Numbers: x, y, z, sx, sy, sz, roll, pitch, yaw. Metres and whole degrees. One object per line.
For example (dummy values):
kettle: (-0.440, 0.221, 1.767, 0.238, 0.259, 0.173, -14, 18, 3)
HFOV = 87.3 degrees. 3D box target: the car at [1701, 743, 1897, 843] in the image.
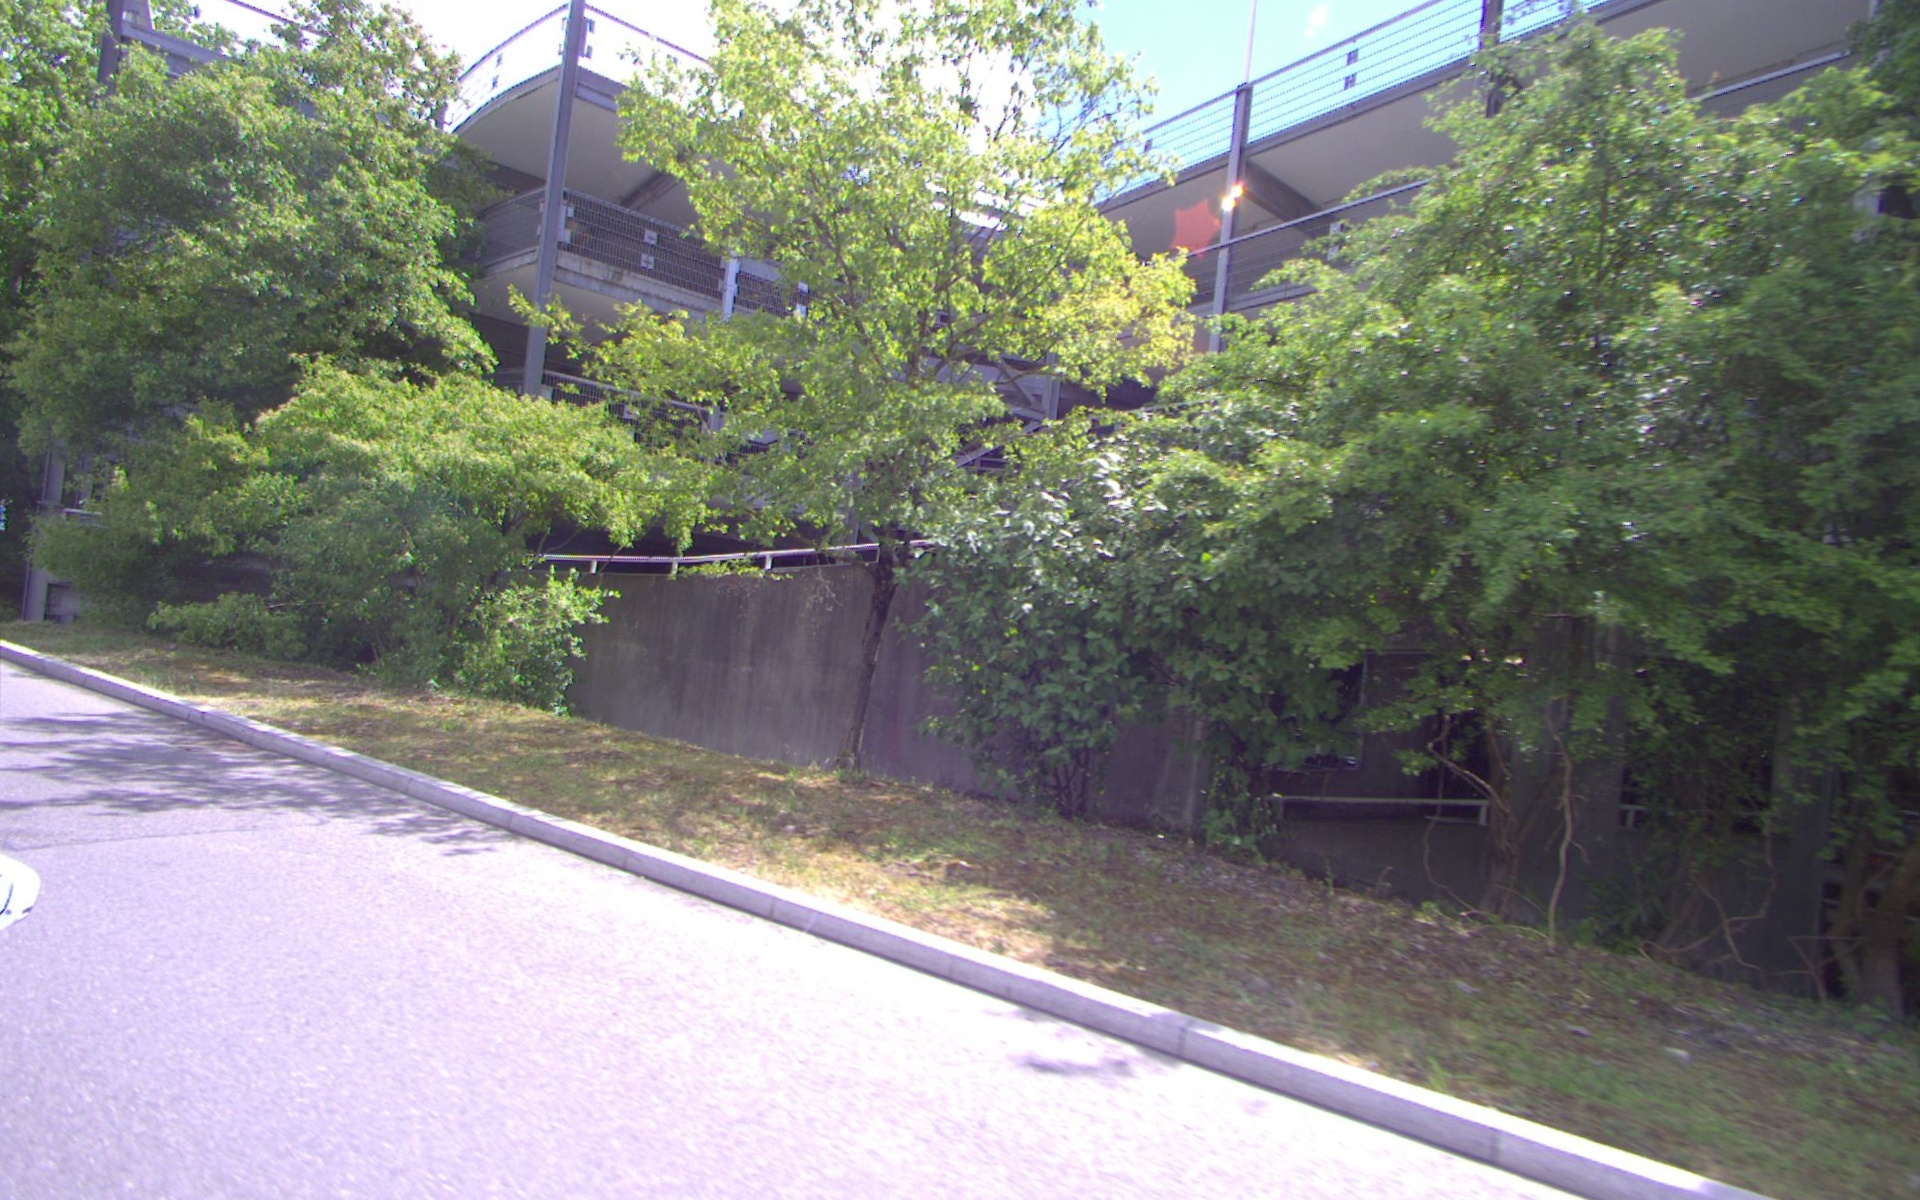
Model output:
car: (18.259, 4.212, 21.848, 4.287, 1.649, 1.983, 9, -2, -33)

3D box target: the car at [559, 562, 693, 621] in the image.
car: (-11.117, -0.278, 33.598, 3.824, 1.503, 1.678, 7, -1, -37)

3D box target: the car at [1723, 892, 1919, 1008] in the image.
car: (18.100, 7.202, 21.035, 4.287, 1.506, 1.983, 9, -2, -33)

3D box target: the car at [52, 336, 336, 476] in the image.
car: (-13.186, -3.273, 17.574, 3.673, 1.428, 1.643, 9, -1, -36)

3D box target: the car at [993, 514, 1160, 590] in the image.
car: (2.837, -1.125, 24.335, 3.677, 1.342, 1.817, 6, -1, -35)

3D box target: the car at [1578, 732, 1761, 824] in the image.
car: (16.779, 4.215, 23.744, 4.287, 1.649, 1.983, 9, -2, -33)

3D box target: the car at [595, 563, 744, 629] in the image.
car: (-8.612, -0.090, 29.957, 3.824, 1.503, 1.678, 7, -1, -37)

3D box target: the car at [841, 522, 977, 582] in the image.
car: (-1.547, -1.448, 30.700, 3.677, 1.342, 1.817, 6, -1, -35)

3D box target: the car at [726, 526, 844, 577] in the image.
car: (-6.265, -1.714, 36.049, 3.677, 1.342, 1.817, 6, -1, -35)

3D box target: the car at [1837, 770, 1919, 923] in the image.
car: (11.731, 2.906, 11.598, 3.746, 1.486, 1.648, 9, -2, -38)

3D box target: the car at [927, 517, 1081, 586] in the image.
car: (1.192, -1.246, 26.725, 3.677, 1.342, 1.817, 6, -1, -35)

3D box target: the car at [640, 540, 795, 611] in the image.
car: (-6.844, -0.675, 28.584, 3.824, 1.503, 1.736, 7, -1, -37)

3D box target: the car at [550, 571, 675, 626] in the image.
car: (-12.383, -0.048, 35.952, 3.824, 1.503, 1.678, 7, -1, -37)

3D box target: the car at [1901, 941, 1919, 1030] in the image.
car: (19.782, 7.414, 18.917, 4.287, 1.506, 1.983, 9, -2, -33)
